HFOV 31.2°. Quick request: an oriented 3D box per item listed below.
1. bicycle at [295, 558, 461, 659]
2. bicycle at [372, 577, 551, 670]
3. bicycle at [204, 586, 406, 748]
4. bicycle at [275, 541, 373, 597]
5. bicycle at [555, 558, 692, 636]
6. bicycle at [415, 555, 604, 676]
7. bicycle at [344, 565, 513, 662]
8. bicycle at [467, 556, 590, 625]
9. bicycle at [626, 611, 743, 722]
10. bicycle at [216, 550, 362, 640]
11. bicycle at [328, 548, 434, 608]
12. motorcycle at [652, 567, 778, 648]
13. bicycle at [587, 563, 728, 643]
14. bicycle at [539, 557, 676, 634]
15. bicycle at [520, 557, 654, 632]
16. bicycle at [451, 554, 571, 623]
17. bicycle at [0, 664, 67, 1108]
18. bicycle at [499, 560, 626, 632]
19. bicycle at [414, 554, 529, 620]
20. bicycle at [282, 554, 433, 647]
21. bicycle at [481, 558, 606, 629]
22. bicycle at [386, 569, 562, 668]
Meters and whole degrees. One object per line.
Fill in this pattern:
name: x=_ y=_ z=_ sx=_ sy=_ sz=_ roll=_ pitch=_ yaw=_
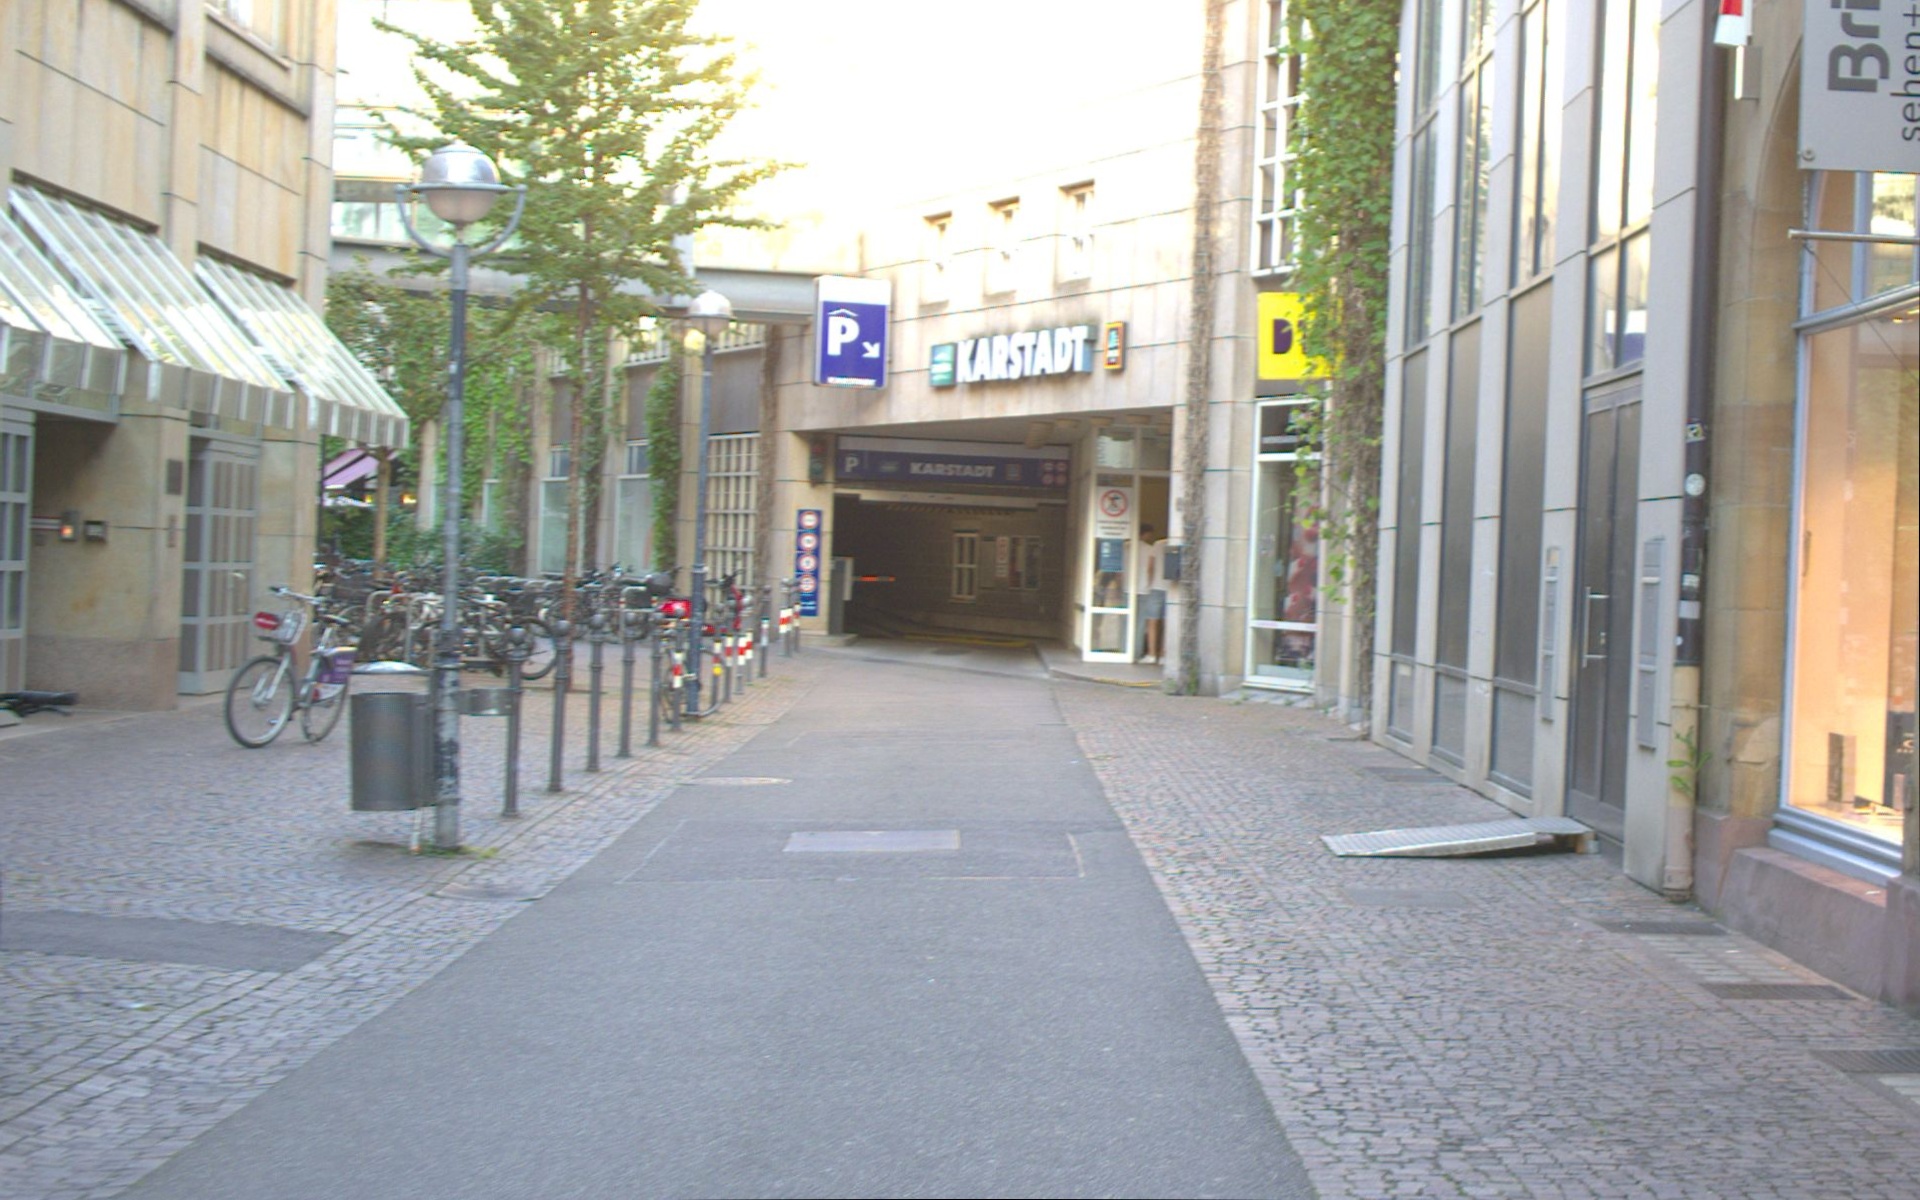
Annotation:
bicycle: x=-7.204 y=0.101 z=42.552 sx=1.912 sy=1.178 sz=0.696 roll=2 pitch=1 yaw=-16
bicycle: x=-5.730 y=0.273 z=39.527 sx=1.912 sy=0.991 sz=0.696 roll=2 pitch=1 yaw=-19
bicycle: x=-4.723 y=0.461 z=24.896 sx=0.694 sy=1.108 sz=1.775 roll=2 pitch=1 yaw=16
bicycle: x=-13.668 y=-0.672 z=73.923 sx=1.993 sy=1.178 sz=0.694 roll=0 pitch=1 yaw=-19
bicycle: x=-5.174 y=-0.055 z=52.835 sx=1.993 sy=1.178 sz=0.696 roll=0 pitch=1 yaw=-19
bicycle: x=-4.995 y=0.171 z=38.102 sx=1.912 sy=1.256 sz=0.809 roll=2 pitch=1 yaw=-19
bicycle: x=-6.443 y=0.163 z=41.642 sx=1.912 sy=1.098 sz=0.696 roll=2 pitch=1 yaw=-16
bicycle: x=-7.463 y=-0.164 z=59.444 sx=1.993 sy=1.178 sz=0.694 roll=0 pitch=1 yaw=-19
bicycle: x=-2.532 y=0.602 z=31.733 sx=0.505 sy=0.963 sz=1.693 roll=2 pitch=1 yaw=15
bicycle: x=-9.376 y=-0.073 z=48.056 sx=1.912 sy=1.178 sz=0.696 roll=2 pitch=1 yaw=-16
bicycle: x=-11.546 y=-0.434 z=68.596 sx=1.993 sy=1.178 sz=0.694 roll=0 pitch=1 yaw=-19
motorcycle: x=-3.583 y=0.108 z=50.281 sx=1.745 sy=1.151 sz=0.595 roll=0 pitch=1 yaw=-16
bicycle: x=-4.562 y=0.036 z=51.849 sx=1.993 sy=1.178 sz=0.696 roll=0 pitch=1 yaw=-19
bicycle: x=-5.507 y=-0.068 z=53.721 sx=1.993 sy=1.178 sz=0.803 roll=0 pitch=1 yaw=-19
bicycle: x=-5.951 y=-0.094 z=54.861 sx=1.993 sy=1.178 sz=0.803 roll=0 pitch=1 yaw=-19
bicycle: x=-7.900 y=-0.204 z=60.523 sx=1.993 sy=1.178 sz=0.694 roll=0 pitch=1 yaw=-19
bicycle: x=-2.665 y=0.757 z=8.583 sx=0.410 sy=1.128 sz=1.931 roll=2 pitch=1 yaw=-3
bicycle: x=-6.631 y=-0.071 z=57.314 sx=1.993 sy=1.178 sz=0.694 roll=0 pitch=1 yaw=-19
bicycle: x=-8.939 y=-0.242 z=62.898 sx=1.993 sy=1.178 sz=0.694 roll=0 pitch=1 yaw=-19
bicycle: x=-8.109 y=0.006 z=46.258 sx=1.912 sy=1.178 sz=0.696 roll=2 pitch=1 yaw=-16
bicycle: x=-7.050 y=-0.113 z=58.202 sx=1.993 sy=1.178 sz=0.694 roll=0 pitch=1 yaw=-19
bicycle: x=-5.719 y=0.217 z=40.445 sx=1.912 sy=1.098 sz=0.696 roll=2 pitch=1 yaw=-19
